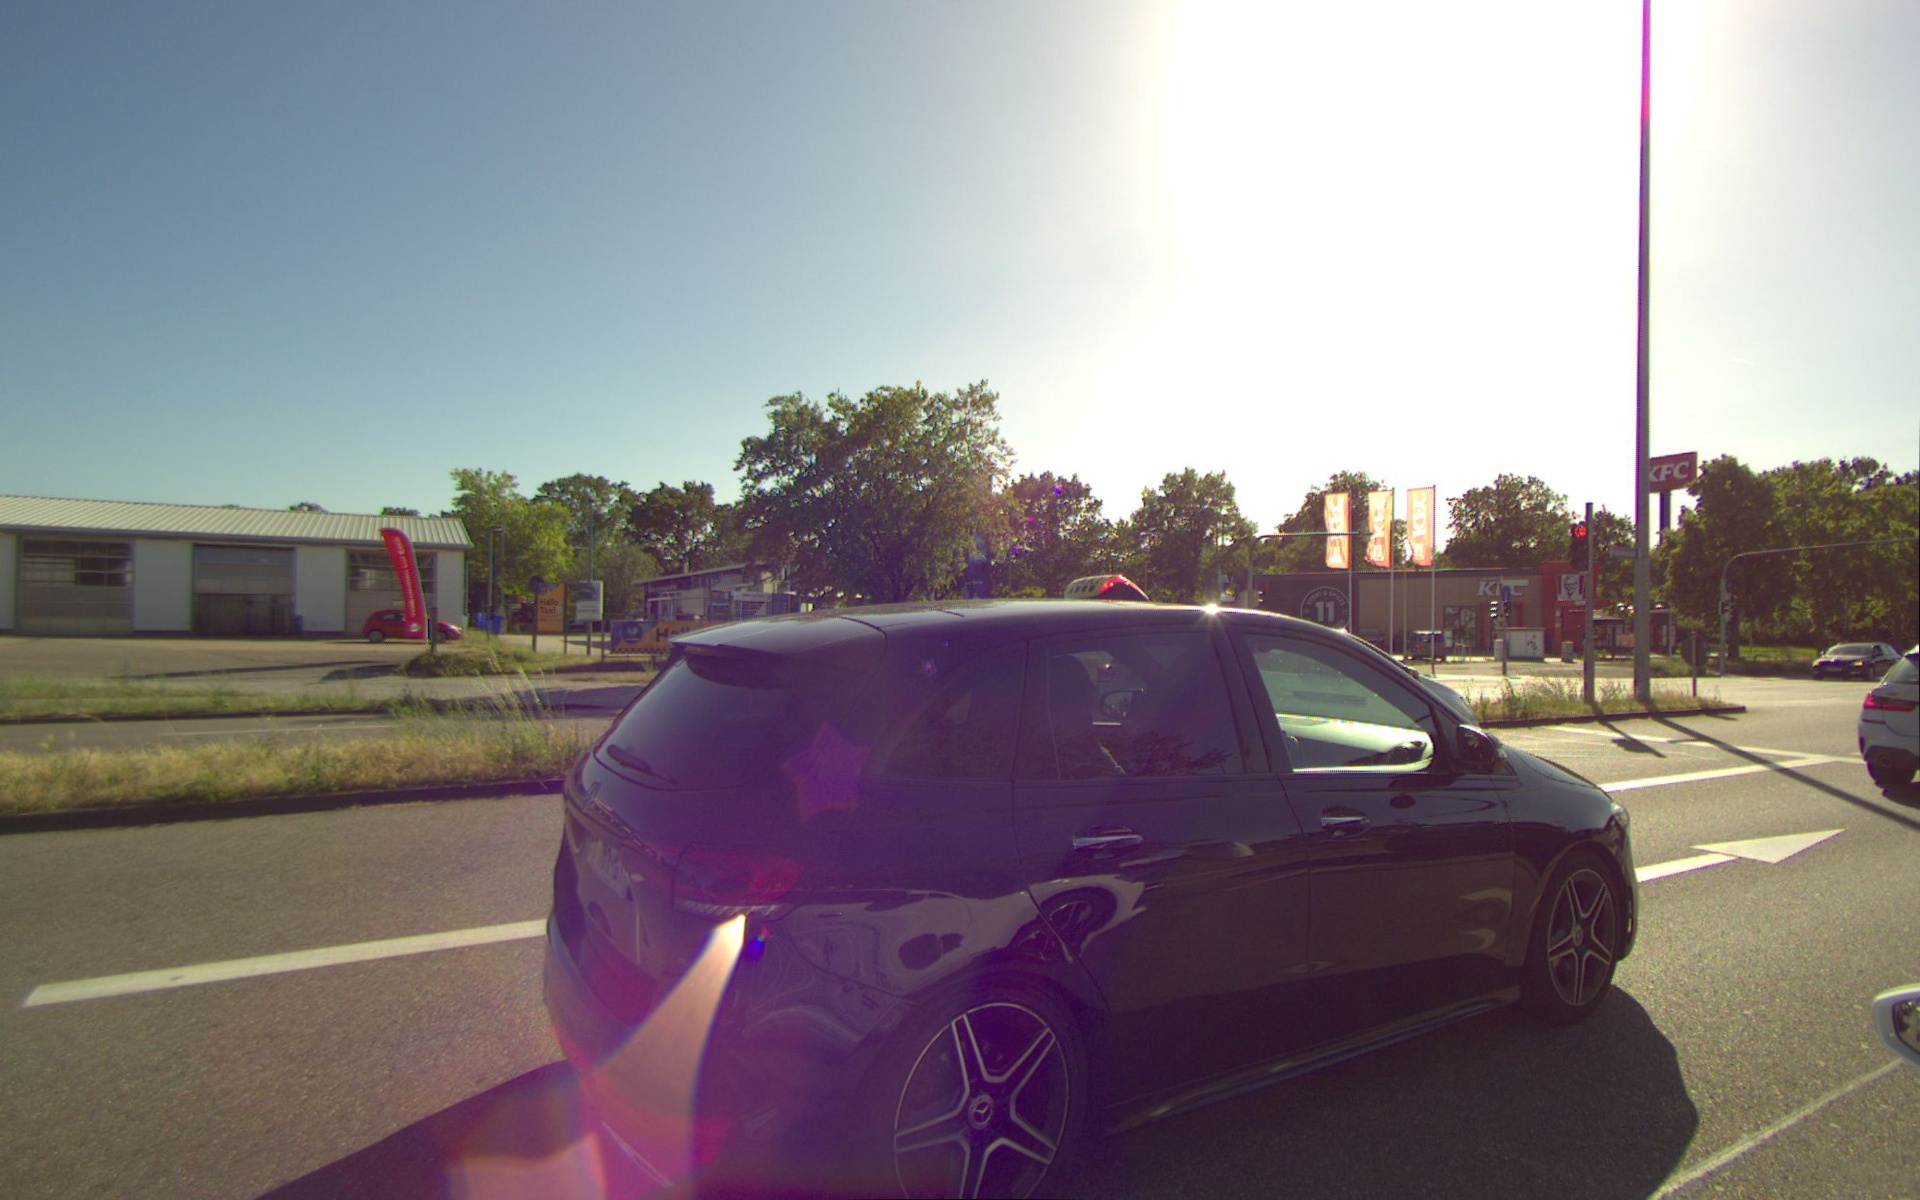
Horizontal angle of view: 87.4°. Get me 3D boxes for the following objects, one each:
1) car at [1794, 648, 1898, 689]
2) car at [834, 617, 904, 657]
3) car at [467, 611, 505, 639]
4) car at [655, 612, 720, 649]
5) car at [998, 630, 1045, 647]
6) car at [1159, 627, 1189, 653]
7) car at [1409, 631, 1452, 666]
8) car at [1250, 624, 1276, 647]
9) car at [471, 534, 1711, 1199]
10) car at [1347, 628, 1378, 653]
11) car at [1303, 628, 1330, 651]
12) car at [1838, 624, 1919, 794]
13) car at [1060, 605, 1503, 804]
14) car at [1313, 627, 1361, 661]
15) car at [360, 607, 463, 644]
[{"bbox_3d":[34.647,2.647,39.269,4.426,1.510,1.751,2,-3,-30],"label":"car"},{"bbox_3d":[-4.202,1.641,45.715,1.839,1.613,3.973,2,0,-26],"label":"car"},{"bbox_3d":[-26.289,1.376,55.649,1.635,1.383,3.744,2,0,-29],"label":"car"},{"bbox_3d":[-13.403,1.474,49.297,1.979,1.584,3.964,2,0,-33],"label":"car"},{"bbox_3d":[5.436,3.377,88.531,3.864,1.481,1.663,0,-1,14],"label":"car"},{"bbox_3d":[15.208,2.814,71.374,1.629,1.695,3.945,2,0,18],"label":"car"},{"bbox_3d":[26.457,2.702,56.444,1.880,1.776,4.349,2,0,29],"label":"car"},{"bbox_3d":[21.140,2.460,70.082,1.629,1.491,3.919,2,0,18],"label":"car"},{"bbox_3d":[0.749,0.743,3.641,4.355,1.510,1.749,2,-3,-33],"label":"car"},{"bbox_3d":[27.270,2.723,68.192,1.629,1.491,3.919,2,0,18],"label":"car"},{"bbox_3d":[24.634,2.698,69.457,1.629,1.491,3.919,2,0,18],"label":"car"},{"bbox_3d":[10.669,1.075,9.922,4.354,1.510,1.775,2,0,-32],"label":"car"},{"bbox_3d":[3.155,0.889,9.626,4.150,1.510,1.750,2,0,-32],"label":"car"},{"bbox_3d":[21.711,2.483,57.749,1.964,1.788,4.349,2,0,29],"label":"car"},{"bbox_3d":[-24.793,1.163,45.577,3.947,1.536,1.772,2,0,-25],"label":"car"}]
